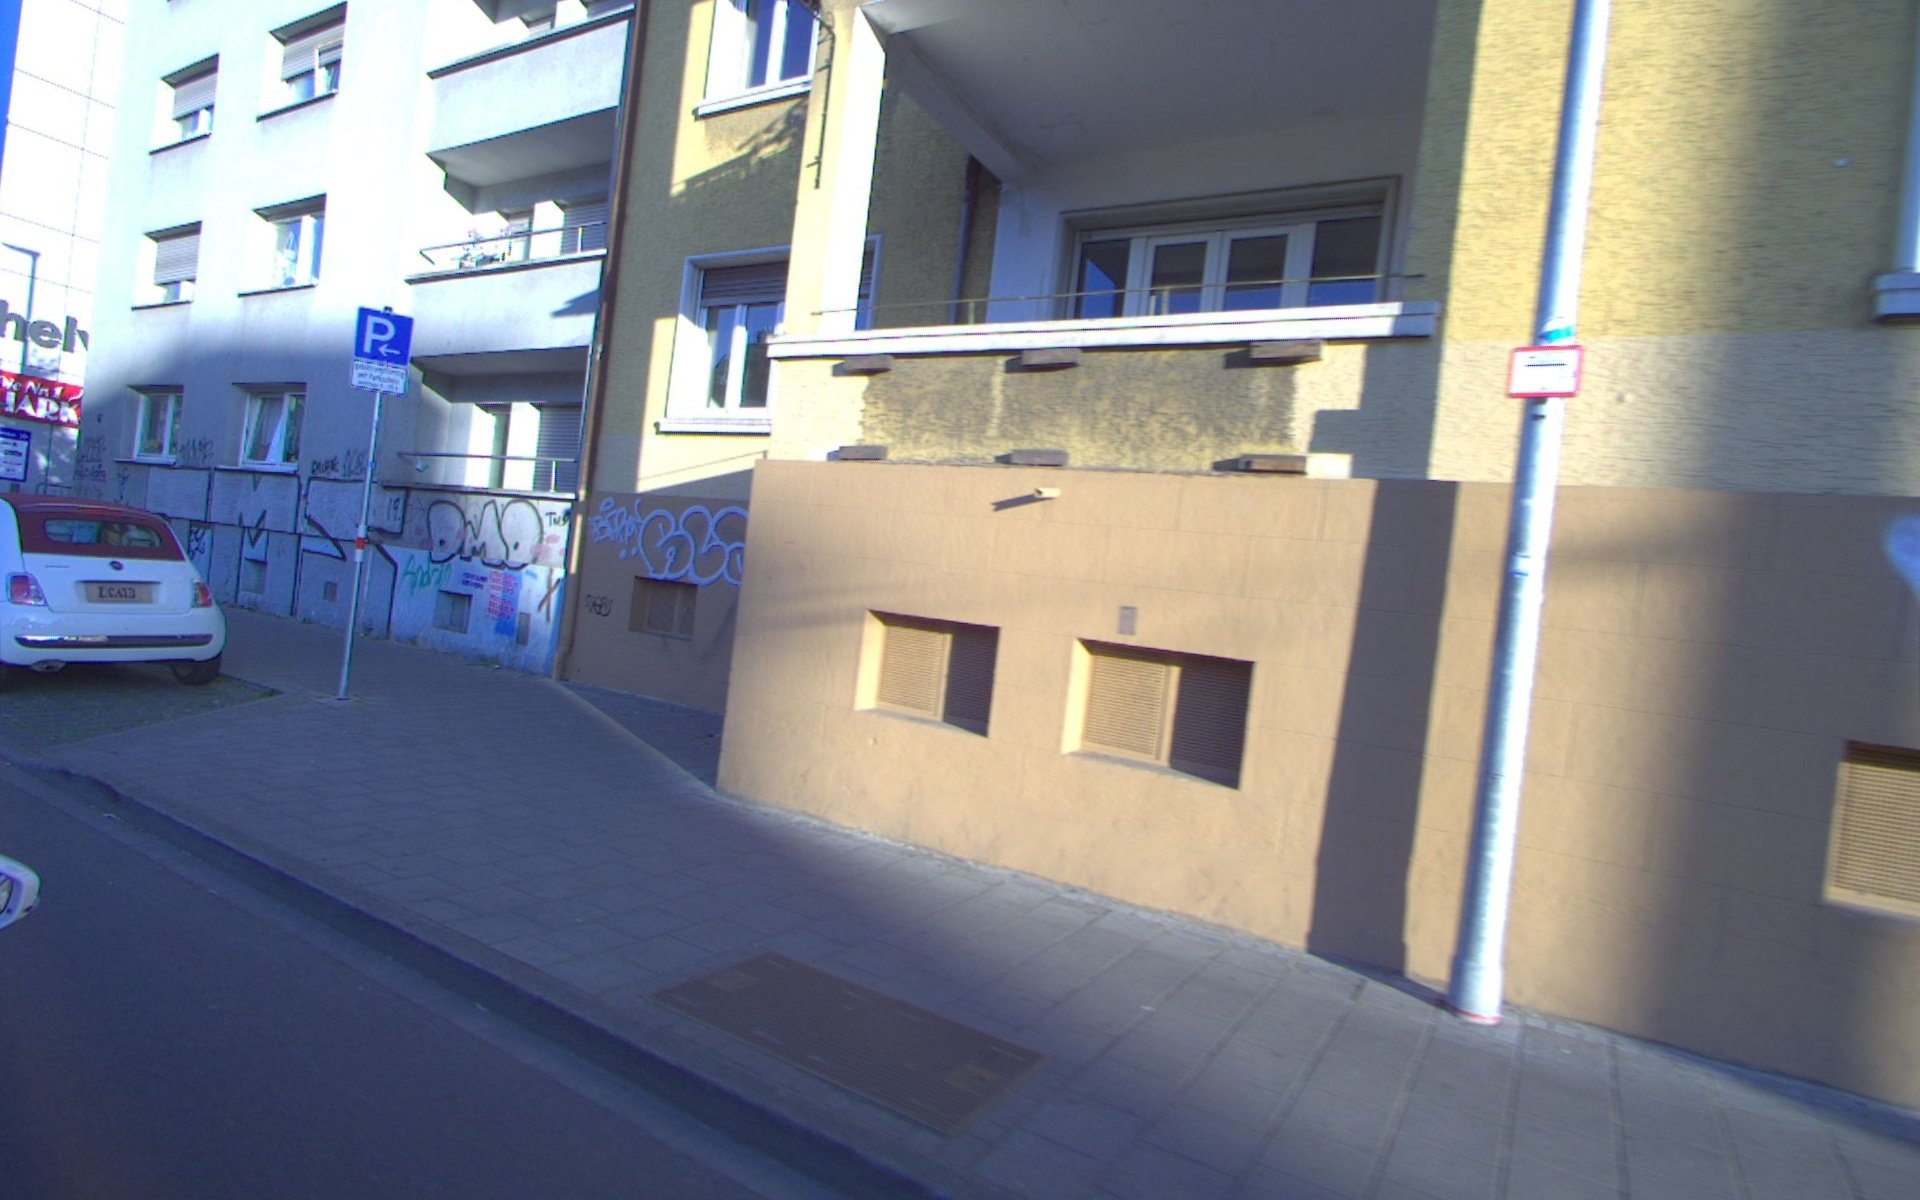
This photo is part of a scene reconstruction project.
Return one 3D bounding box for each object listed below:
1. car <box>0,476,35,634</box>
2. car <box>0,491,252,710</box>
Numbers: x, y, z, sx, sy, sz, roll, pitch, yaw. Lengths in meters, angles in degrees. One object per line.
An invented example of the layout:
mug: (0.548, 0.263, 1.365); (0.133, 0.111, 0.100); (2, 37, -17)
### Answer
car: (-12.441, -0.710, 11.364); (4.453, 1.676, 1.757); (7, 2, 32)
car: (-8.026, -0.130, 8.766); (3.540, 1.539, 1.669); (6, 3, 30)
